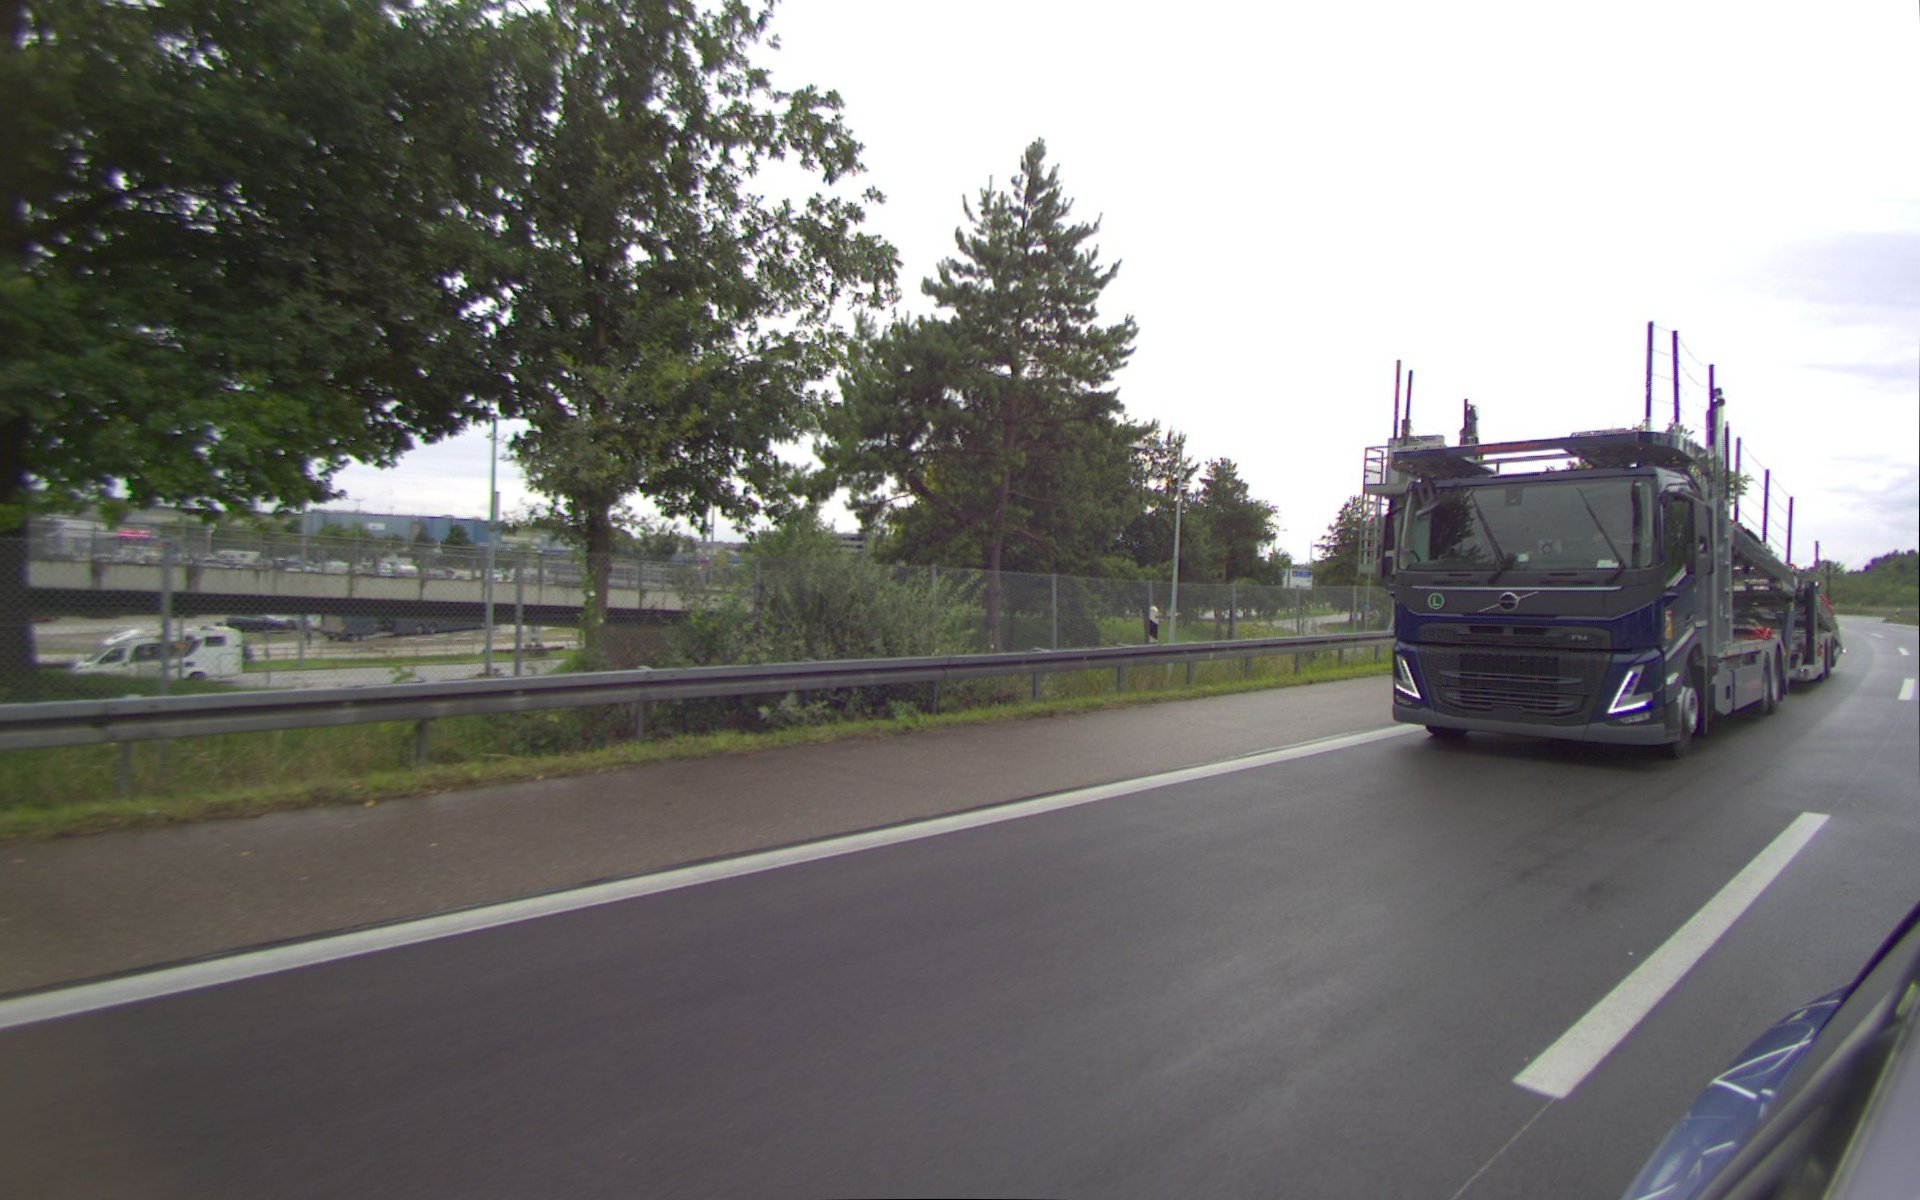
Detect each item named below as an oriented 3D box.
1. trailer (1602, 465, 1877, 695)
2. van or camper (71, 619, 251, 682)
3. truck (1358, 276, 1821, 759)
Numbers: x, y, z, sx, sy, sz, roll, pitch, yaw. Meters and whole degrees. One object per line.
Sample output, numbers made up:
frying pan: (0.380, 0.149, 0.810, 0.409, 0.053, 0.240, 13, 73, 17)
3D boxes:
trailer: (15.191, -0.301, 19.266, 10.236, 3.326, 2.779, 0, 0, -45)
van or camper: (-41.559, 2.538, 52.878, 2.151, 2.580, 7.144, 6, 6, 43)
truck: (8.272, -0.660, 12.530, 8.976, 4.018, 2.741, 1, -1, -44)
